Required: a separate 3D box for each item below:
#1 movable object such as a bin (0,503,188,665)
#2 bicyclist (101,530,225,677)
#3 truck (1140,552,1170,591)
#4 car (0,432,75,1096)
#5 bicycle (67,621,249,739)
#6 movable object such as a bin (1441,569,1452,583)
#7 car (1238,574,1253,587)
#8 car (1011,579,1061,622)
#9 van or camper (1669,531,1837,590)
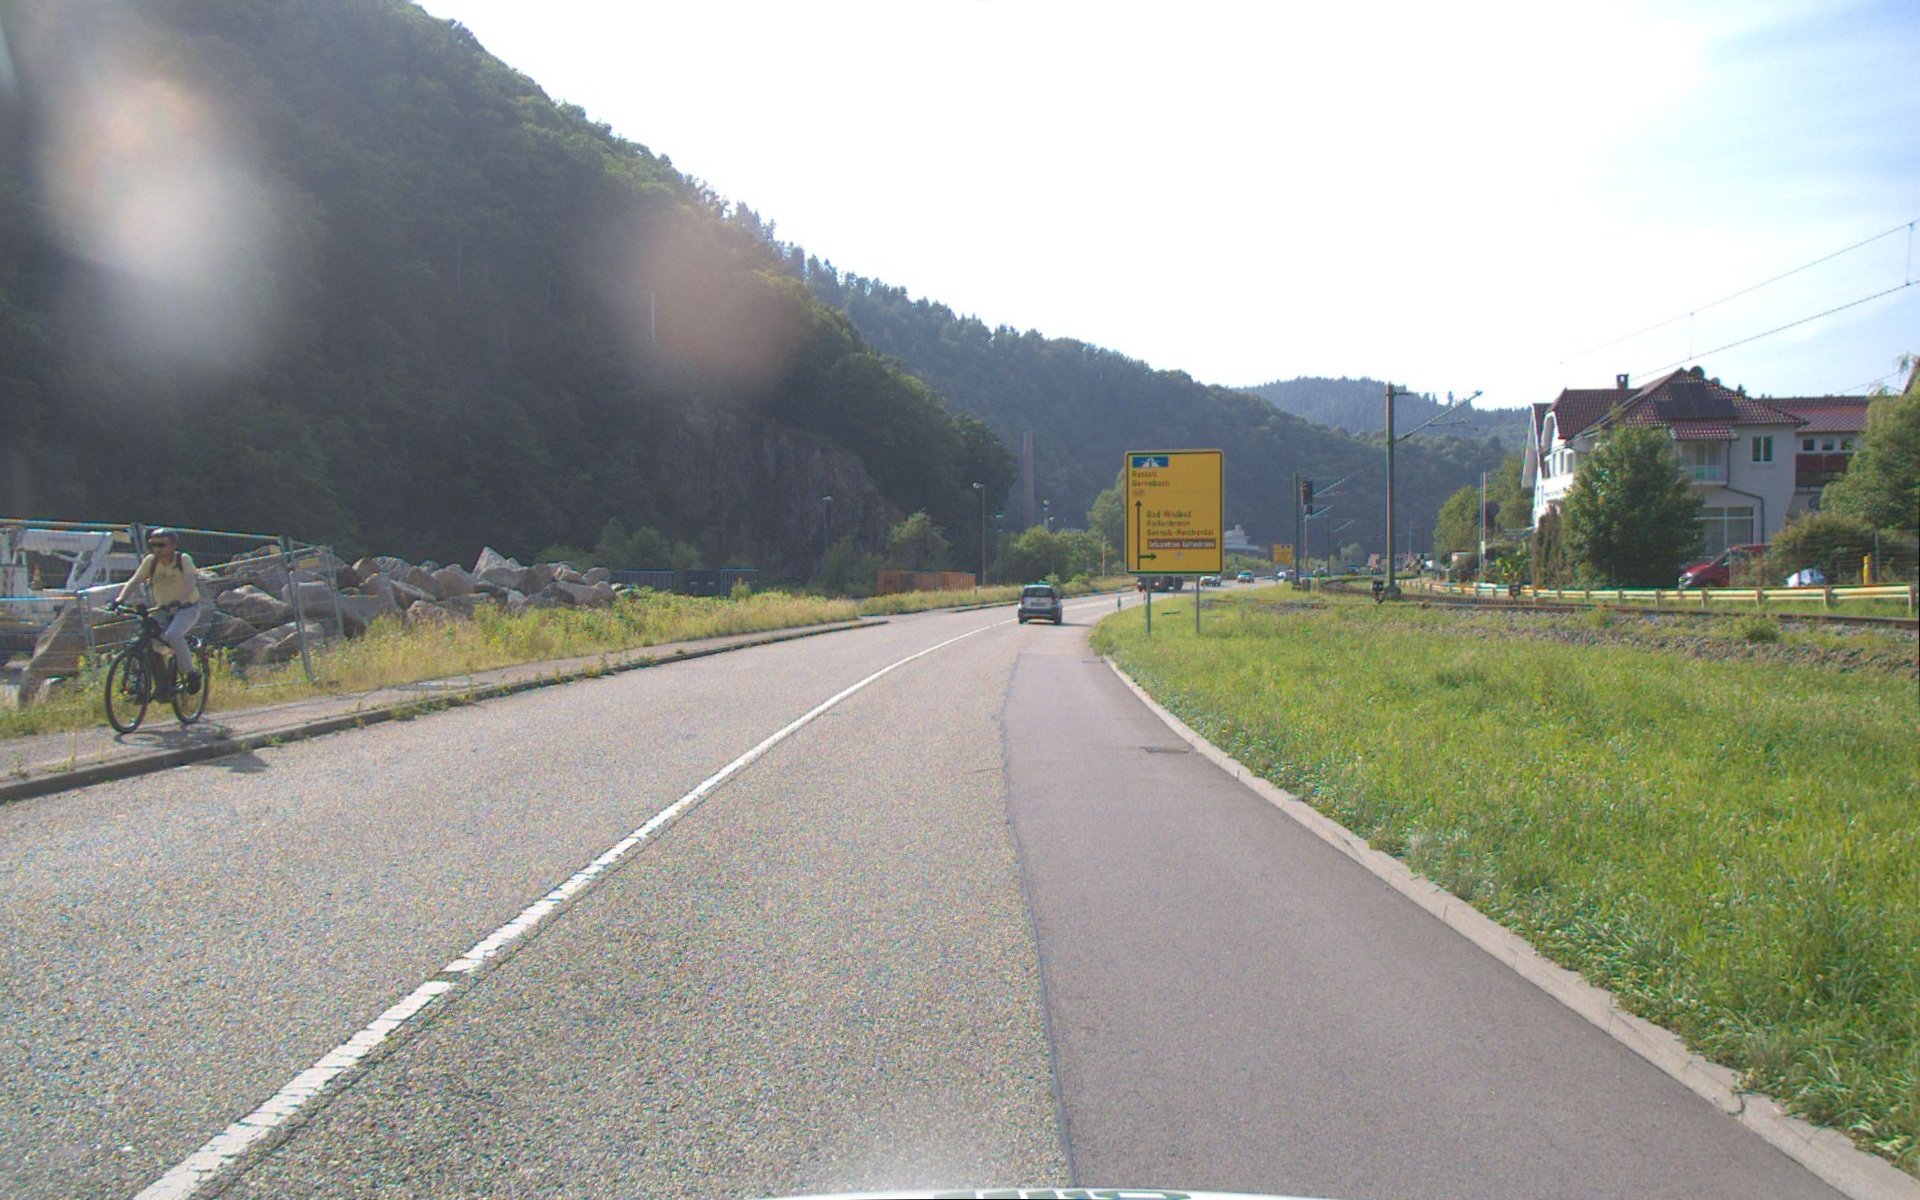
[{"bbox_3d":[-24.347,-0.391,45.276,2.840,4.016,7.806,-2,0,-2],"label":"movable object such as a bin"},{"bbox_3d":[-6.992,0.025,14.539,0.670,1.246,0.858,1,0,-1],"label":"bicyclist"},{"bbox_3d":[20.162,-2.929,170.787,2.691,3.902,8.205,1,1,9],"label":"truck"},{"bbox_3d":[-3.521,0.451,2.508,1.813,1.816,4.684,1,0,0],"label":"car"},{"bbox_3d":[-6.976,0.660,14.514,0.528,0.897,2.252,1,0,-1],"label":"bicycle"},{"bbox_3d":[39.115,-1.955,132.947,0.790,1.068,0.912,2,2,14],"label":"movable object such as a bin"},{"bbox_3d":[37.798,-2.590,218.840,1.687,1.653,3.800,1,2,14],"label":"car"},{"bbox_3d":[3.335,-0.014,71.922,1.951,1.753,3.992,-2,0,4],"label":"car"},{"bbox_3d":[29.894,-1.482,62.482,5.301,1.962,2.123,-2,0,11],"label":"van or camper"}]
